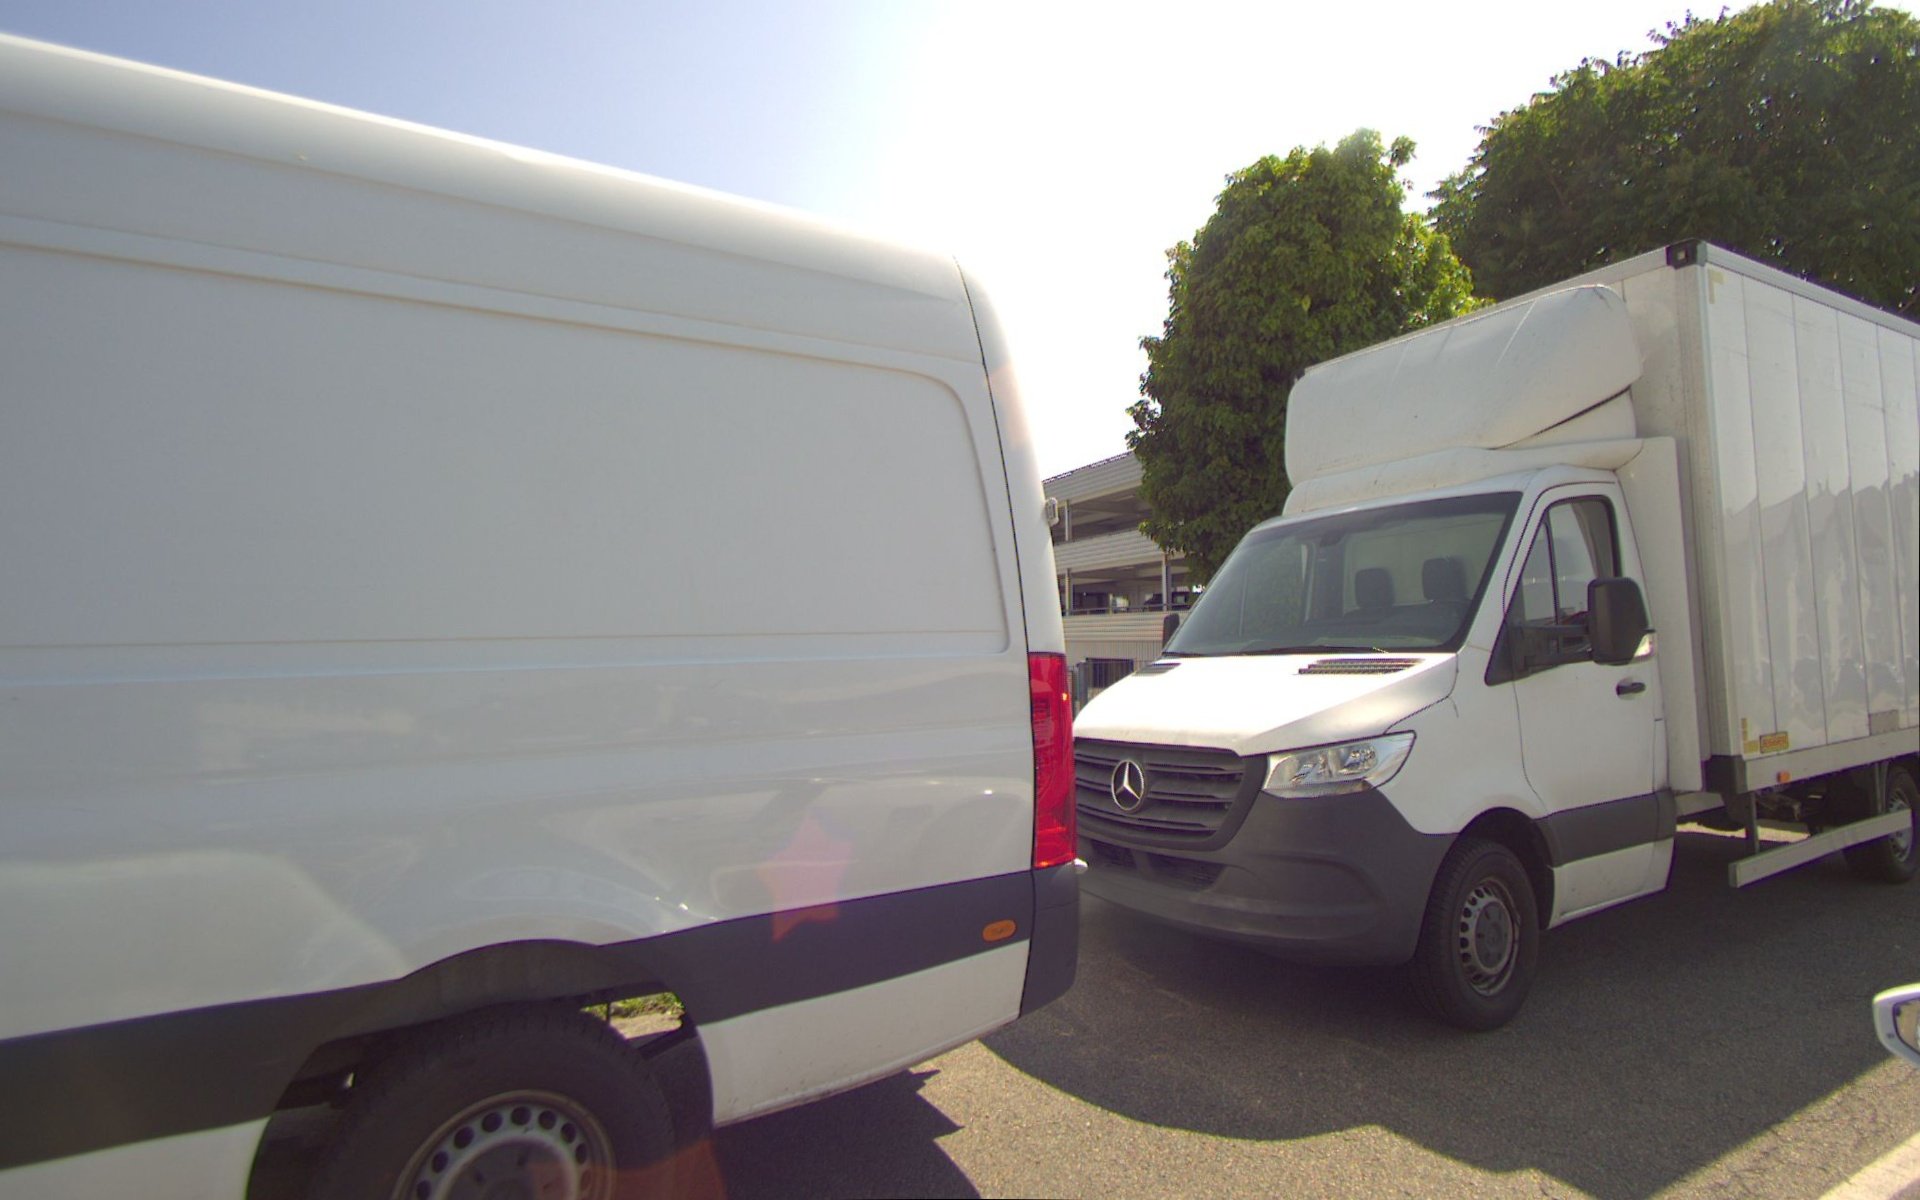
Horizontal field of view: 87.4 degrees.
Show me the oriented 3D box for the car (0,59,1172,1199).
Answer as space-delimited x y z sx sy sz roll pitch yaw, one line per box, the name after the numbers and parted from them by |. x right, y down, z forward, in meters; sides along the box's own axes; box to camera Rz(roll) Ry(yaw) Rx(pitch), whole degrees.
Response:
-2.906 0.471 2.034 6.838 2.629 2.159 1 -4 -30 | car

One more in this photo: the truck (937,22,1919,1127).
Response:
3.563 0.017 6.084 7.048 3.410 2.672 1 -3 -31 | truck

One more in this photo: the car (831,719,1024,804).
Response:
-0.741 3.612 22.917 3.948 1.461 1.987 0 -2 -27 | car

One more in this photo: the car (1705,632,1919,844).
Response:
8.687 1.053 8.827 4.255 1.541 1.735 0 -3 -28 | car

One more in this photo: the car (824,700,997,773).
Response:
-1.259 3.399 25.519 3.948 1.461 1.987 0 -2 -27 | car
